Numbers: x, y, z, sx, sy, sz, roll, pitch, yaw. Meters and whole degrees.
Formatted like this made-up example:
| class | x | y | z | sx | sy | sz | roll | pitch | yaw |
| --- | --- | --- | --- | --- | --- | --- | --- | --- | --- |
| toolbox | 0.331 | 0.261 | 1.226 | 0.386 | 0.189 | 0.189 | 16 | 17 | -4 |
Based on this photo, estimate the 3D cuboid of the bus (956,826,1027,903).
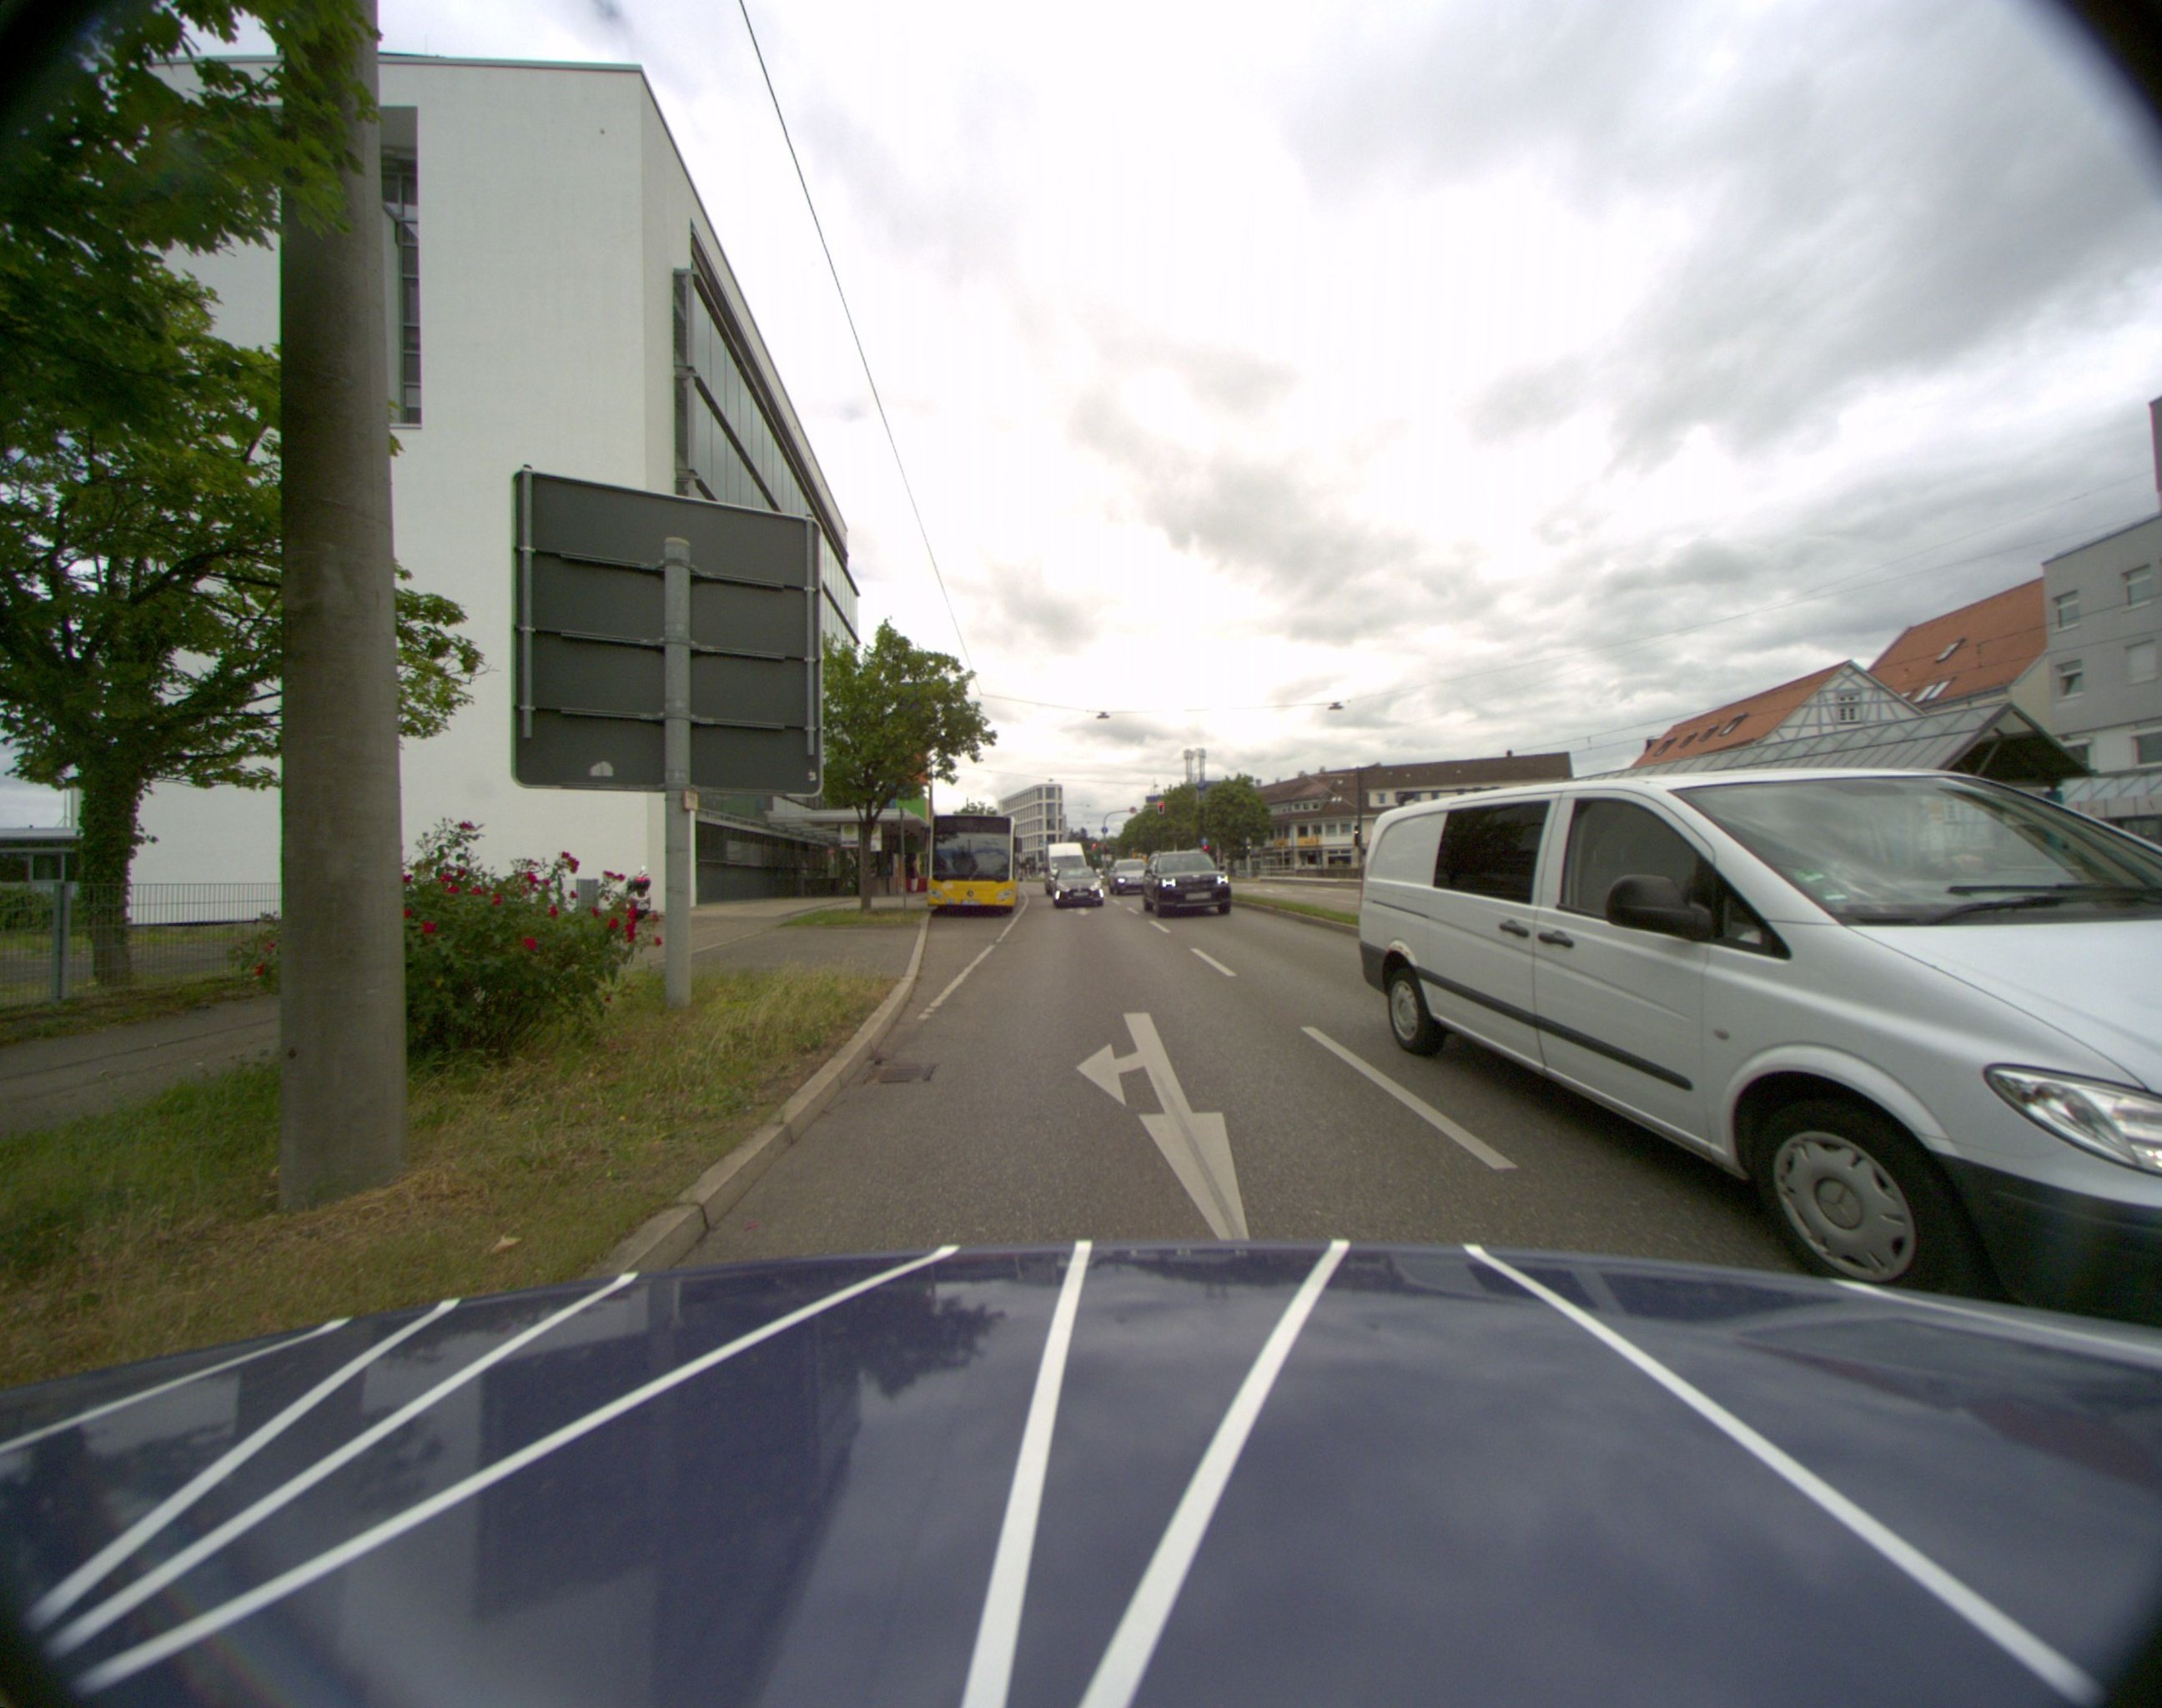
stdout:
| class | x | y | z | sx | sy | sz | roll | pitch | yaw |
| --- | --- | --- | --- | --- | --- | --- | --- | --- | --- |
| bus | -3.943 | 0.483 | 35.207 | 2.720 | 3.090 | 8.868 | -1 | -1 | -4 |

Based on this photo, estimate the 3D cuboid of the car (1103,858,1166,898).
| class | x | y | z | sx | sy | sz | roll | pitch | yaw |
| --- | --- | --- | --- | --- | --- | --- | --- | --- | --- |
| car | 2.463 | 1.097 | 35.961 | 2.000 | 1.640 | 4.391 | -3 | 0 | -8 |

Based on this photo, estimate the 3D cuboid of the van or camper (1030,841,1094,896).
| class | x | y | z | sx | sy | sz | roll | pitch | yaw |
| --- | --- | --- | --- | --- | --- | --- | --- | --- | --- |
| van or camper | -1.180 | 0.787 | 41.015 | 2.282 | 2.690 | 6.989 | -1 | -1 | -11 |

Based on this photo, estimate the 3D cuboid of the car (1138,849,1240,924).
| class | x | y | z | sx | sy | sz | roll | pitch | yaw |
| --- | --- | --- | --- | --- | --- | --- | --- | --- | --- |
| car | 2.858 | 0.812 | 21.149 | 1.927 | 1.741 | 4.677 | -3 | 0 | -2 |

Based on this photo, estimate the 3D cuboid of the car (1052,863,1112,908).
| class | x | y | z | sx | sy | sz | roll | pitch | yaw |
| --- | --- | --- | --- | --- | --- | --- | --- | --- | --- |
| car | -0.041 | 1.089 | 27.625 | 1.864 | 1.516 | 3.999 | -1 | -1 | -4 |

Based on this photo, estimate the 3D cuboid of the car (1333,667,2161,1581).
| class | x | y | z | sx | sy | sz | roll | pitch | yaw |
| --- | --- | --- | --- | --- | --- | --- | --- | --- | --- |
| car | 3.219 | 0.600 | 4.061 | 1.878 | 2.001 | 5.076 | -2 | -1 | -1 |

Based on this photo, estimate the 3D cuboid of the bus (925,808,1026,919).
| class | x | y | z | sx | sy | sz | roll | pitch | yaw |
| --- | --- | --- | --- | --- | --- | --- | --- | --- | --- |
| bus | -3.338 | 0.347 | 26.186 | 2.720 | 3.145 | 9.125 | 1 | -1 | -4 |

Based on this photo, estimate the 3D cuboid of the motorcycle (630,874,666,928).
| class | x | y | z | sx | sy | sz | roll | pitch | yaw |
| --- | --- | --- | --- | --- | --- | --- | --- | --- | --- |
| motorcycle | -10.477 | 1.104 | 18.369 | 0.585 | 1.214 | 1.578 | -1 | 0 | -35 |
